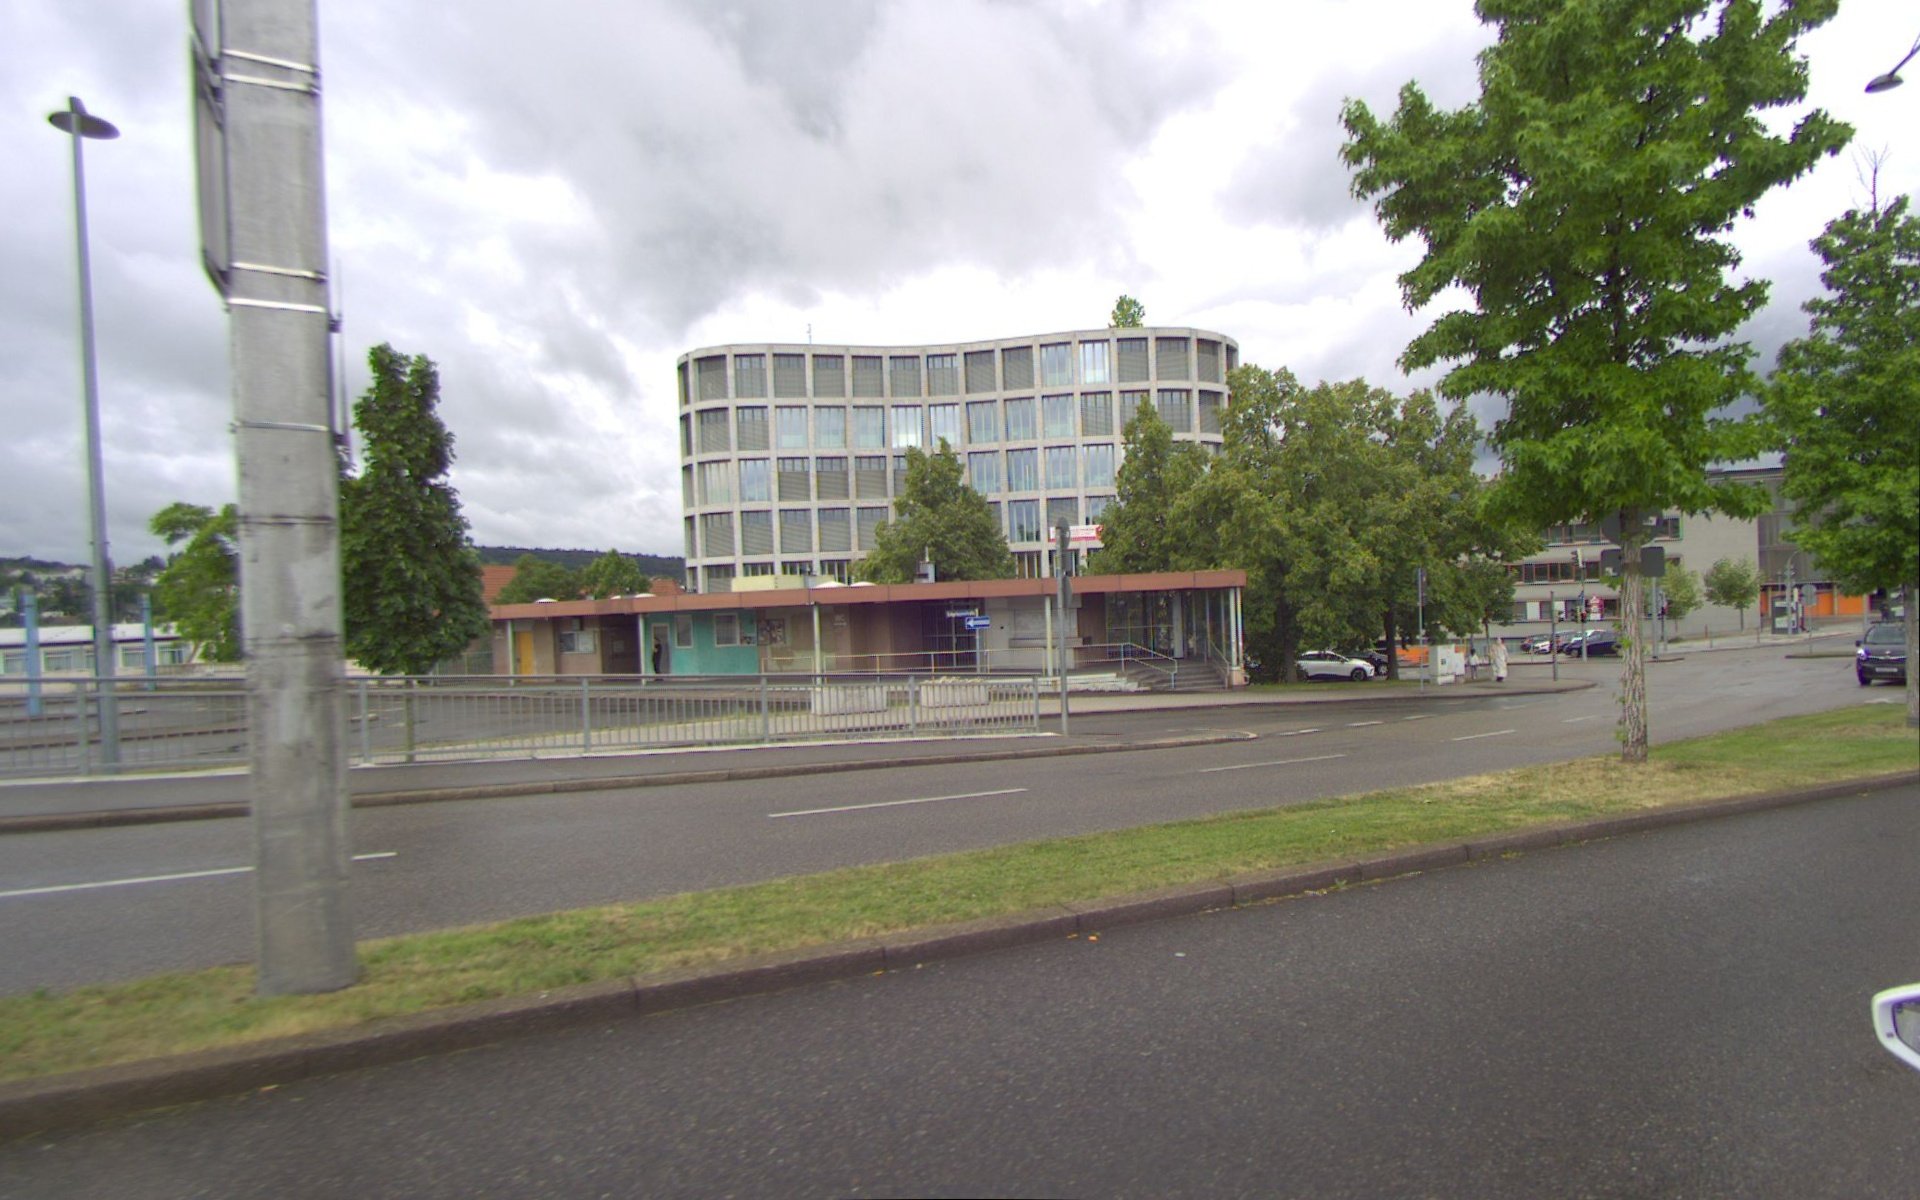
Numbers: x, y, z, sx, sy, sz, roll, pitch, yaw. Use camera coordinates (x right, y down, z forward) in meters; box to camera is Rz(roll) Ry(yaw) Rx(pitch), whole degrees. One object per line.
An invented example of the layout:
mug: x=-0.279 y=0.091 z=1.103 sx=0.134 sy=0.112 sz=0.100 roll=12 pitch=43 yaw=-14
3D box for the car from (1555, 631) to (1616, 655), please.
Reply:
car: x=44.787 y=3.063 z=71.945 sx=3.521 sy=1.515 sz=1.629 roll=-3 pitch=-1 yaw=-14

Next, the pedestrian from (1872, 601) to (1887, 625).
pedestrian: x=68.831 y=0.959 z=75.168 sx=0.752 sy=1.706 sz=0.473 roll=-3 pitch=-2 yaw=-23

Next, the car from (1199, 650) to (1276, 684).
car: x=14.608 y=3.522 z=53.018 sx=3.761 sy=1.588 sz=1.729 roll=-3 pitch=-1 yaw=13

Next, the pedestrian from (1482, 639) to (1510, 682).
pedestrian: x=20.226 y=2.278 z=37.915 sx=0.623 sy=1.590 sz=0.649 roll=0 pitch=-4 yaw=-28

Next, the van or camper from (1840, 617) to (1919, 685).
van or camper: x=31.371 y=1.722 z=33.388 sx=5.237 sy=2.099 sz=2.200 roll=2 pitch=-5 yaw=-38

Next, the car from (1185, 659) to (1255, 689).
car: x=12.934 y=3.680 z=50.128 sx=3.250 sy=1.313 sz=1.499 roll=-3 pitch=-1 yaw=12

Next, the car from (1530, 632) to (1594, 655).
car: x=45.870 y=3.341 z=76.641 sx=3.712 sy=1.515 sz=1.767 roll=-3 pitch=-1 yaw=9

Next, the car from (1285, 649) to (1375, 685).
car: x=18.053 y=3.256 z=49.164 sx=3.975 sy=1.528 sz=1.729 roll=-3 pitch=-1 yaw=16

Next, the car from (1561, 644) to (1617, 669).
car: x=39.537 y=3.532 z=63.209 sx=1.453 sy=1.368 sz=3.584 roll=-2 pitch=-1 yaw=5

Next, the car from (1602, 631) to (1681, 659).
car: x=42.770 y=2.843 z=63.100 sx=1.809 sy=1.457 sz=3.645 roll=-3 pitch=-3 yaw=-30

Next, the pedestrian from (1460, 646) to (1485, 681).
pedestrian: x=19.763 y=2.454 z=38.743 sx=0.626 sy=1.309 sz=0.646 roll=1 pitch=-4 yaw=-42

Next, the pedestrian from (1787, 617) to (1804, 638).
pedestrian: x=57.769 y=1.876 z=69.435 sx=0.713 sy=1.410 sz=0.675 roll=-2 pitch=-1 yaw=-31

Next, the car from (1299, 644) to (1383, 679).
car: x=19.513 y=3.158 z=51.591 sx=3.761 sy=1.588 sz=1.729 roll=-3 pitch=-1 yaw=13
